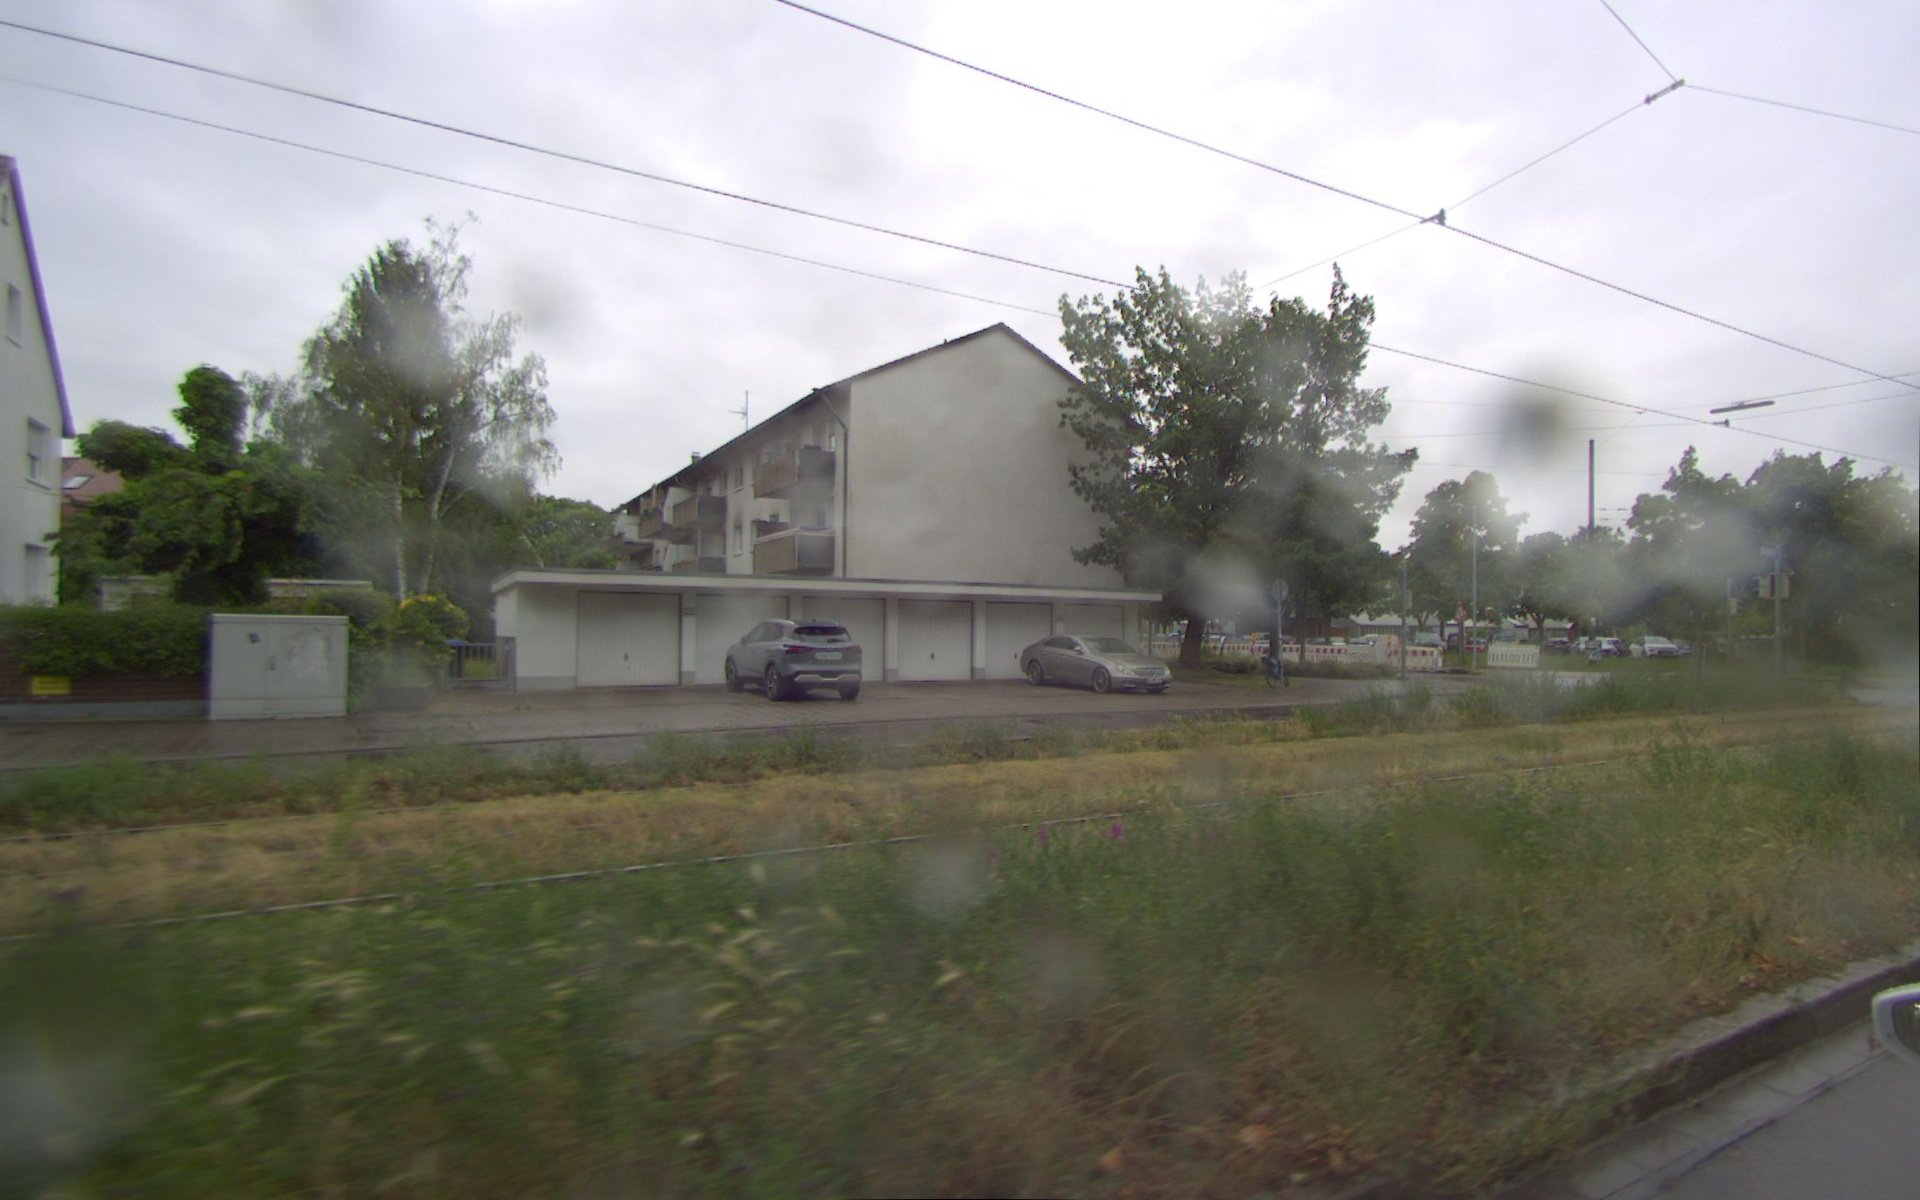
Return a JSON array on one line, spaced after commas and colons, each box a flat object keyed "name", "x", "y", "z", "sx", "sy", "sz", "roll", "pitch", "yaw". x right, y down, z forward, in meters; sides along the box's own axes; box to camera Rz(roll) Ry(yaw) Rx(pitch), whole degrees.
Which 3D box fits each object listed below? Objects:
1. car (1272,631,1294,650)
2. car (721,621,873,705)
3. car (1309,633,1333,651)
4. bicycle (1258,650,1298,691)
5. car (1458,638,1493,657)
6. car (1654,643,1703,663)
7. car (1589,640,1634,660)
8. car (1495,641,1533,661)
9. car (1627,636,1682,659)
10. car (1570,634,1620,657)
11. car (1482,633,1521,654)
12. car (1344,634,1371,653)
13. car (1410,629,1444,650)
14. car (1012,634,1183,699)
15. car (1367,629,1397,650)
[{"name": "car", "x": 24.872, "y": 3.122, "z": 77.309, "sx": 1.632, "sy": 1.342, "sz": 3.744, "roll": 0, "pitch": -2, "yaw": 18}, {"name": "car", "x": -3.543, "y": 1.275, "z": 21.298, "sx": 1.871, "sy": 1.597, "sz": 3.967, "roll": 1, "pitch": -2, "yaw": -31}, {"name": "car", "x": 27.219, "y": 3.174, "z": 75.755, "sx": 1.632, "sy": 1.342, "sz": 3.744, "roll": 0, "pitch": -2, "yaw": 18}, {"name": "bicycle", "x": 8.754, "y": 1.914, "z": 27.588, "sx": 0.474, "sy": 1.033, "sz": 1.836, "roll": 3, "pitch": 1, "yaw": 35}, {"name": "car", "x": 36.983, "y": 3.406, "z": 72.120, "sx": 1.632, "sy": 1.342, "sz": 3.744, "roll": 0, "pitch": -2, "yaw": 18}, {"name": "car", "x": 48.542, "y": 3.550, "z": 67.917, "sx": 1.632, "sy": 1.265, "sz": 3.744, "roll": 0, "pitch": -2, "yaw": 18}, {"name": "car", "x": 44.575, "y": 3.411, "z": 68.780, "sx": 1.632, "sy": 1.265, "sz": 3.744, "roll": 0, "pitch": -2, "yaw": 18}, {"name": "car", "x": 39.181, "y": 3.571, "z": 71.097, "sx": 1.632, "sy": 1.342, "sz": 3.744, "roll": 0, "pitch": -2, "yaw": 18}, {"name": "car", "x": 40.419, "y": 2.766, "z": 58.536, "sx": 1.632, "sy": 1.265, "sz": 3.744, "roll": 0, "pitch": -2, "yaw": 18}, {"name": "car", "x": 37.346, "y": 2.663, "z": 59.151, "sx": 1.632, "sy": 1.265, "sz": 3.744, "roll": 0, "pitch": -2, "yaw": 18}, {"name": "car", "x": 33.269, "y": 2.662, "z": 61.812, "sx": 1.633, "sy": 1.265, "sz": 3.742, "roll": 0, "pitch": -2, "yaw": 21}, {"name": "car", "x": 29.575, "y": 3.247, "z": 74.863, "sx": 1.632, "sy": 1.342, "sz": 3.744, "roll": 0, "pitch": -2, "yaw": 18}, {"name": "car", "x": 29.042, "y": 2.476, "z": 62.544, "sx": 1.633, "sy": 1.265, "sz": 3.742, "roll": 0, "pitch": -2, "yaw": 21}, {"name": "car", "x": 3.338, "y": 1.603, "z": 25.399, "sx": 1.826, "sy": 1.383, "sz": 4.704, "roll": 1, "pitch": -1, "yaw": -29}, {"name": "car", "x": 26.674, "y": 2.492, "z": 63.634, "sx": 1.633, "sy": 1.265, "sz": 3.742, "roll": 0, "pitch": -2, "yaw": 21}]
